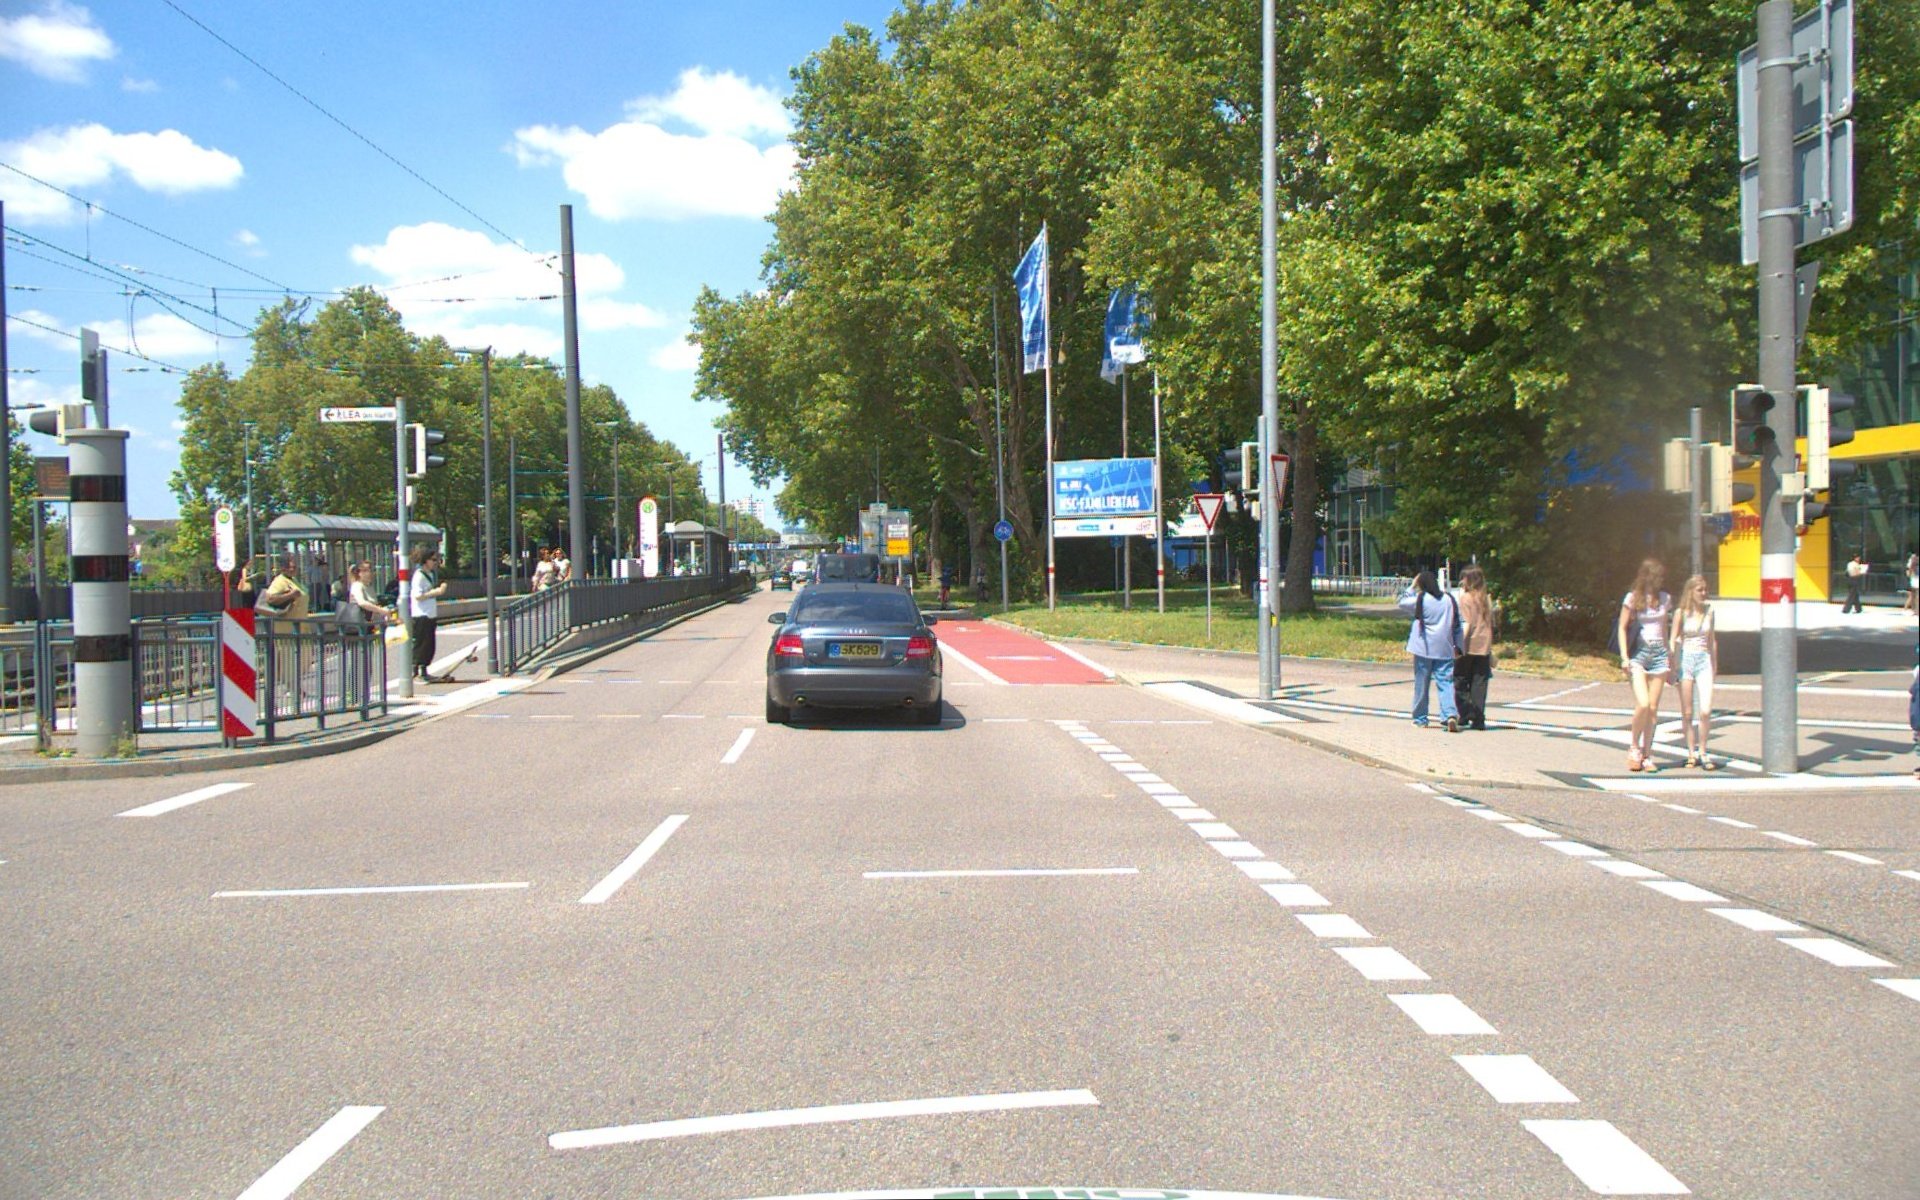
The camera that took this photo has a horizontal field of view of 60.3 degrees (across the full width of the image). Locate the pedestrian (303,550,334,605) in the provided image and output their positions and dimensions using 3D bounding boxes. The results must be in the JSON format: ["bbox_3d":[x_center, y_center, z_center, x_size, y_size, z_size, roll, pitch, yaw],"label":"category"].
[{"bbox_3d":[-20.516,-0.718,52.936,0.723,1.759,0.577,0,2,32],"label":"pedestrian"}]

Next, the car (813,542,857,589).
[{"bbox_3d":[-5.429,-1.521,72.354,1.812,1.993,4.142,0,1,-3],"label":"car"}]

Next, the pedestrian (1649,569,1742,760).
[{"bbox_3d":[6.341,0.538,14.276,0.516,1.607,0.612,0,1,-1],"label":"pedestrian"}]

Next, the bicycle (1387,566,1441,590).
[{"bbox_3d":[18.946,-0.930,69.059,2.022,0.986,0.867,-1,1,-9],"label":"bicycle"}]

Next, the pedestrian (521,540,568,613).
[{"bbox_3d":[-9.425,-0.533,37.542,0.873,1.633,0.923,-1,1,-6],"label":"pedestrian"}]

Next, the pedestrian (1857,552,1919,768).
[{"bbox_3d":[7.758,0.458,13.252,0.778,1.688,0.853,0,1,12],"label":"pedestrian"}]

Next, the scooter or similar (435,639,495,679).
[{"bbox_3d":[-6.783,0.807,22.696,0.712,0.514,0.456,-1,2,-8],"label":"scooter or similar"}]

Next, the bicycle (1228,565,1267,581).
[{"bbox_3d":[17.707,-1.646,101.996,2.273,0.977,0.757,0,1,-10],"label":"bicycle"}]

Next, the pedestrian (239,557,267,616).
[{"bbox_3d":[-20.383,-0.399,47.684,0.547,1.666,0.804,-1,1,-12],"label":"pedestrian"}]

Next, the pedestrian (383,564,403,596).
[{"bbox_3d":[-22.113,-0.782,64.510,0.565,1.211,0.638,-1,1,-5],"label":"pedestrian"}]

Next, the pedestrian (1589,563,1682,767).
[{"bbox_3d":[5.756,0.536,14.118,0.516,1.695,0.640,0,1,-1],"label":"pedestrian"}]

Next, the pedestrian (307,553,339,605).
[{"bbox_3d":[-20.896,-0.696,54.258,0.810,1.667,0.577,0,2,32],"label":"pedestrian"}]

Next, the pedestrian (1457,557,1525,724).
[{"bbox_3d":[5.579,0.403,17.396,0.609,1.712,0.726,0,1,13],"label":"pedestrian"}]

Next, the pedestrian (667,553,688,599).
[{"bbox_3d":[-10.513,-0.901,61.589,0.718,1.694,0.741,-1,1,-6],"label":"pedestrian"}]

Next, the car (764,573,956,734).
[{"bbox_3d":[-1.193,0.481,17.992,1.808,1.510,3.994,0,1,-8],"label":"car"}]

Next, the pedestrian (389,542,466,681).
[{"bbox_3d":[-7.189,0.137,22.377,0.846,1.833,0.882,0,1,-9],"label":"pedestrian"}]

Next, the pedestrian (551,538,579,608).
[{"bbox_3d":[-9.806,-0.676,41.066,0.602,1.710,0.719,0,1,-7],"label":"pedestrian"}]

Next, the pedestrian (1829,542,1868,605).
[{"bbox_3d":[25.139,-0.767,46.814,0.764,1.766,0.742,0,1,7],"label":"pedestrian"}]

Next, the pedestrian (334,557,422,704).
[{"bbox_3d":[-6.455,0.321,18.365,0.770,1.600,0.763,0,1,-8],"label":"pedestrian"}]

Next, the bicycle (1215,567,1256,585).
[{"bbox_3d":[17.537,-1.503,105.318,2.499,1.130,0.757,0,1,-10],"label":"bicycle"}]

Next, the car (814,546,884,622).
[{"bbox_3d":[-3.011,-0.459,45.230,1.812,1.993,4.142,0,1,-3],"label":"car"}]

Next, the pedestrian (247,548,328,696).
[{"bbox_3d":[-7.878,0.245,19.393,0.718,1.702,0.677,0,1,-8],"label":"pedestrian"}]

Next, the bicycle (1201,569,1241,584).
[{"bbox_3d":[17.006,-1.547,107.800,2.499,0.987,0.757,0,1,-10],"label":"bicycle"}]

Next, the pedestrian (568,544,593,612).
[{"bbox_3d":[-9.125,-0.538,39.802,0.487,1.605,0.556,-1,1,-7],"label":"pedestrian"}]

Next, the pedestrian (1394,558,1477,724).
[{"bbox_3d":[4.830,0.392,16.846,0.749,1.634,0.897,0,1,13],"label":"pedestrian"}]

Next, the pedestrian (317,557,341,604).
[{"bbox_3d":[-21.016,-0.654,55.113,0.565,1.559,0.638,-1,1,-5],"label":"pedestrian"}]

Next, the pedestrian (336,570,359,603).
[{"bbox_3d":[-21.102,-0.461,56.997,0.565,1.113,0.638,-1,1,-5],"label":"pedestrian"}]

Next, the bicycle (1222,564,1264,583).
[{"bbox_3d":[17.622,-1.664,103.106,2.499,1.130,0.757,0,1,-10],"label":"bicycle"}]
